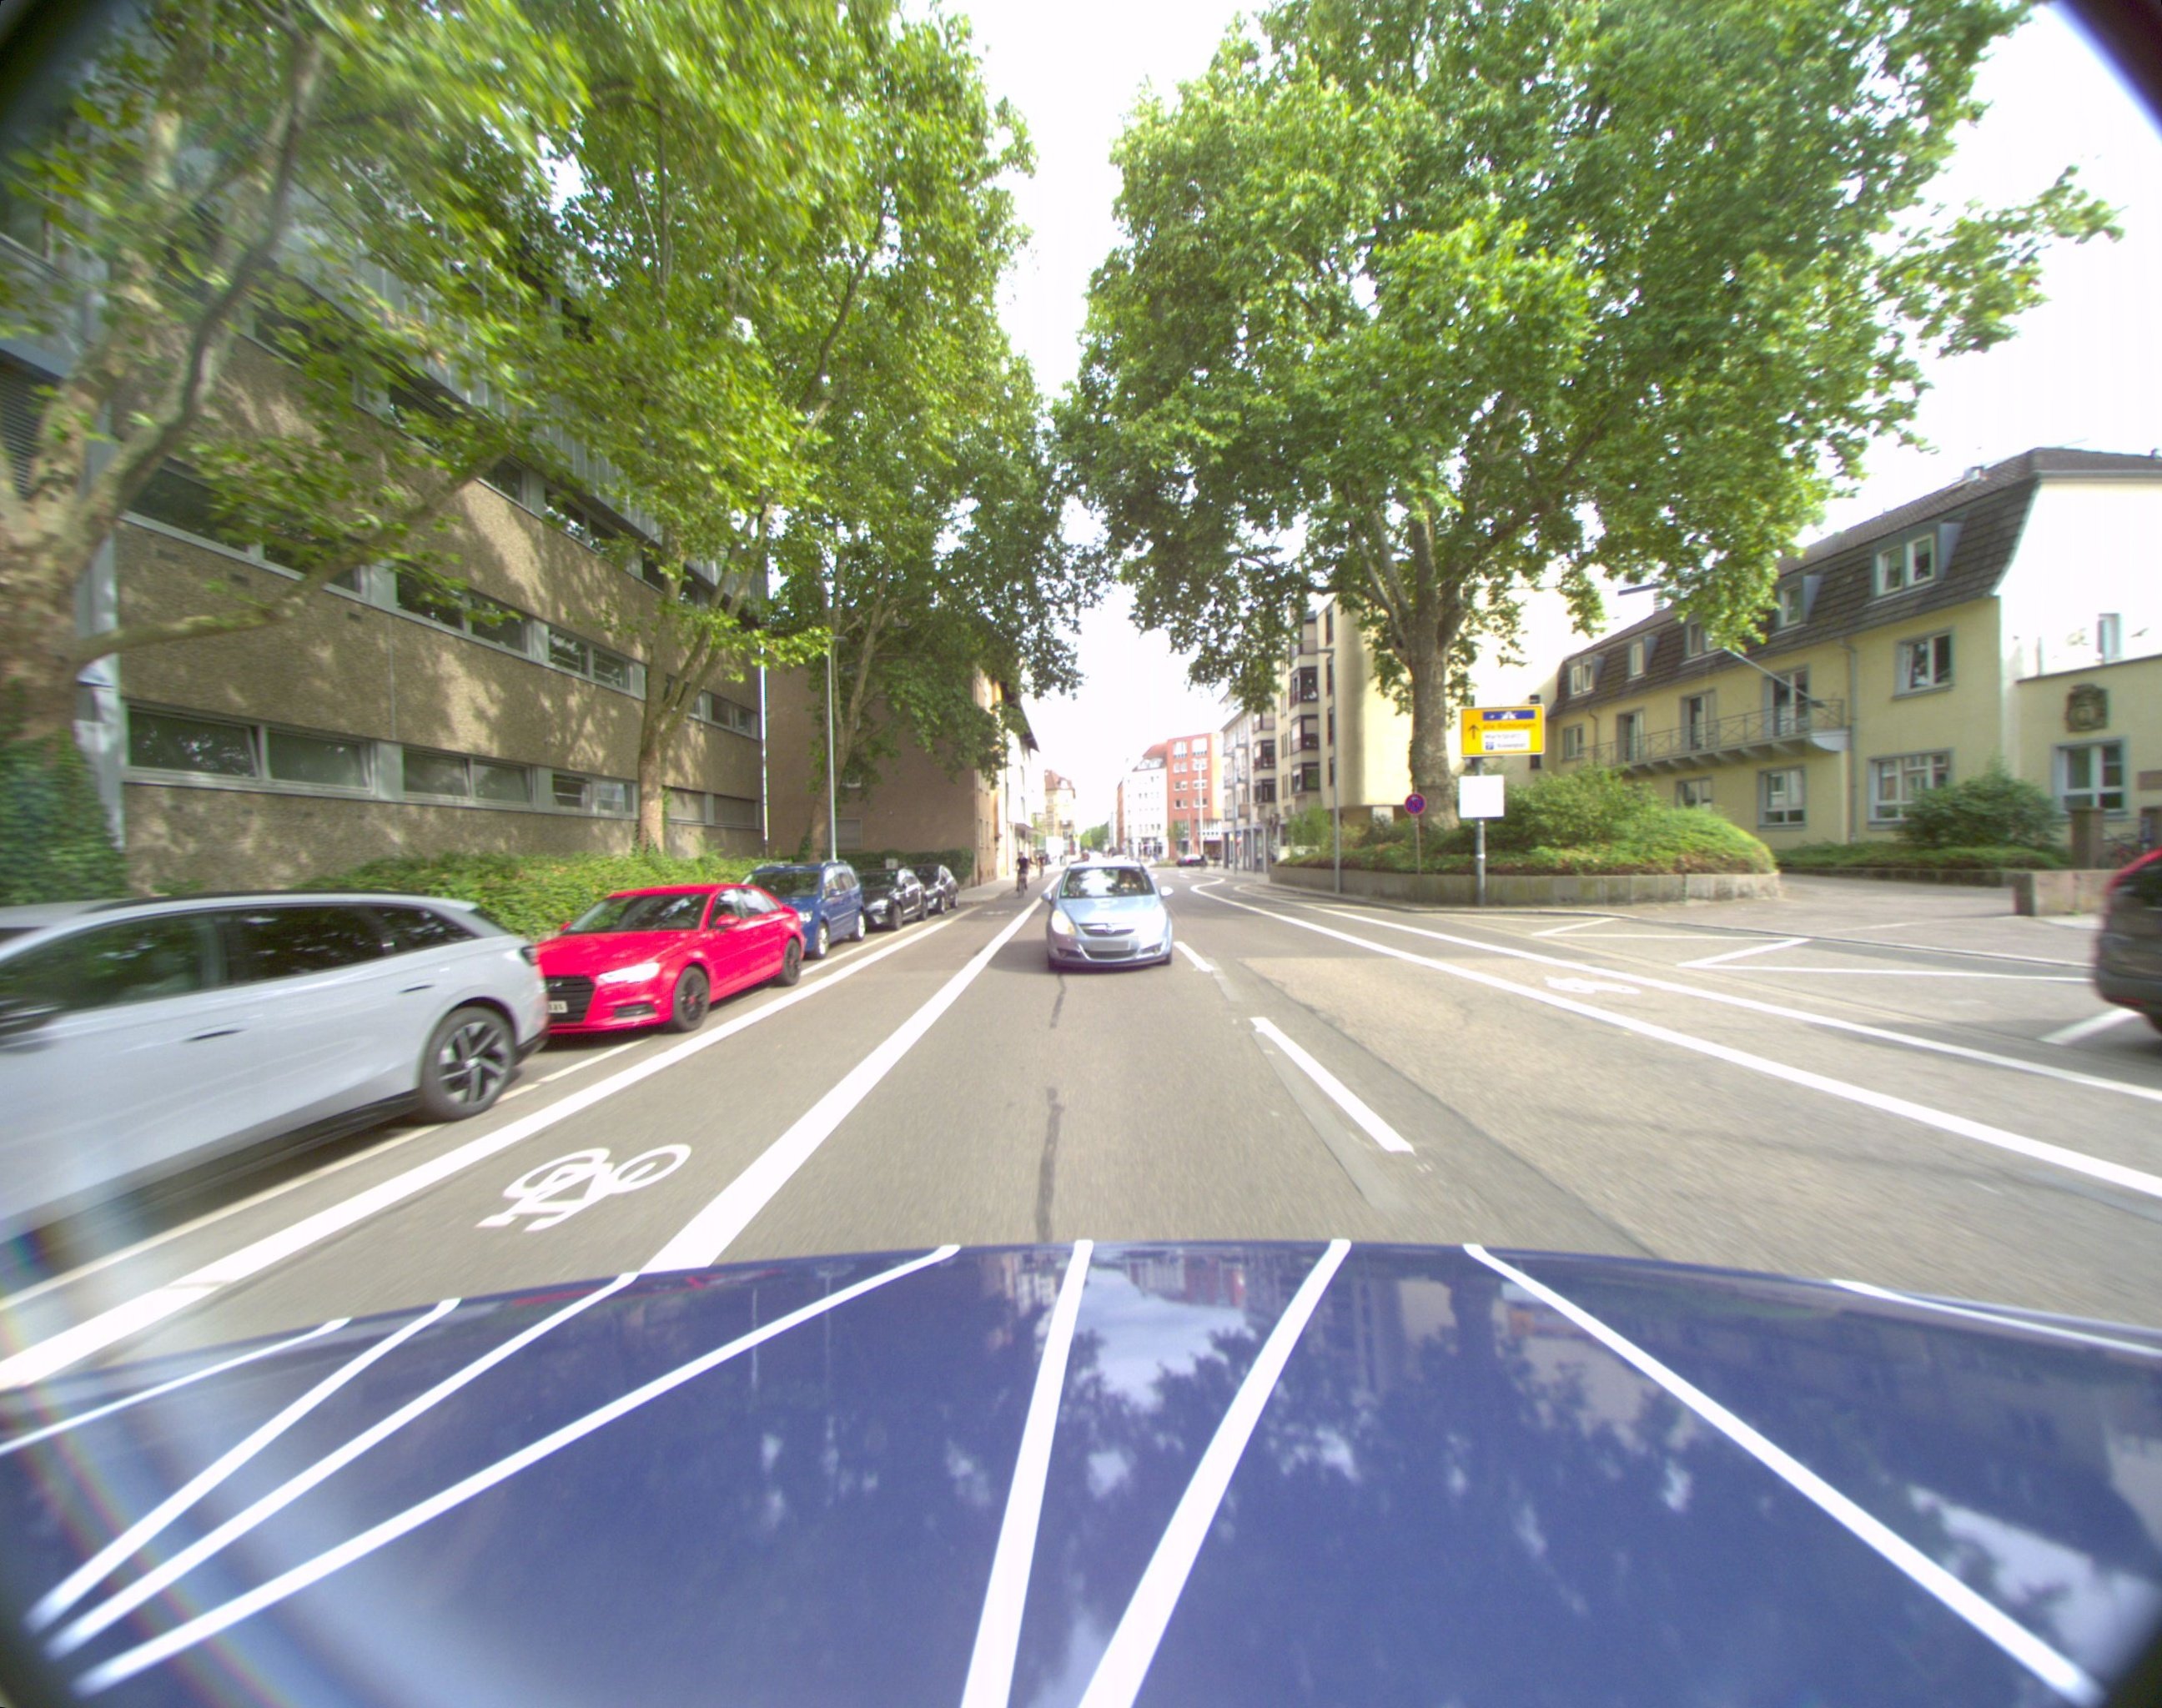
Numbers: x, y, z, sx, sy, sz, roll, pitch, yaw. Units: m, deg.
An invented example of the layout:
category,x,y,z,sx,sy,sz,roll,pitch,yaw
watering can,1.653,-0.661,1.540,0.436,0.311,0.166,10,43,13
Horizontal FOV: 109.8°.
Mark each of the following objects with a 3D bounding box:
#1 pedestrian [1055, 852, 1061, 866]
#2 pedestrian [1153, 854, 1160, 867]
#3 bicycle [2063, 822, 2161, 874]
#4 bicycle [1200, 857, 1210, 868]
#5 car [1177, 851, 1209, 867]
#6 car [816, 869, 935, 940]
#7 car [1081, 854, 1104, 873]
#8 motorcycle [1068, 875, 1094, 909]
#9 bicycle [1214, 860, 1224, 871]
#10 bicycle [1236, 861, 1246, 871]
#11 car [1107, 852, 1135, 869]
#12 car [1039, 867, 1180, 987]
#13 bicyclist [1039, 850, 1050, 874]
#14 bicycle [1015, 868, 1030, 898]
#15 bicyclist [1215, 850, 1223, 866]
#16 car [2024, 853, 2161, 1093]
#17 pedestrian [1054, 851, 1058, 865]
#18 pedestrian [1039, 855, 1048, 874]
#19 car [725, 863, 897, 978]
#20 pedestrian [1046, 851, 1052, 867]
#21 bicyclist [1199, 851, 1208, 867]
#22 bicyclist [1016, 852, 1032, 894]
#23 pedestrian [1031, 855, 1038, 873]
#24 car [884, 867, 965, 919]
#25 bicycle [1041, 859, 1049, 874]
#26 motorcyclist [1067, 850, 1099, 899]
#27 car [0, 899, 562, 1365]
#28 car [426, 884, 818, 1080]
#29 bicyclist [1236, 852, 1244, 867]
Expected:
category,x,y,z,sx,sy,sz,roll,pitch,yaw
pedestrian,-3.087,0.690,102.183,0.657,1.841,0.971,2,1,4
pedestrian,11.857,1.067,118.810,0.719,1.960,1.016,2,0,28
bicycle,22.859,-0.129,16.736,1.802,1.038,0.399,-3,-1,2
bicycle,11.989,0.790,73.617,0.739,1.001,2.196,-3,-1,4
car,12.344,0.622,83.555,1.812,1.398,4.620,-4,-6,31
car,-4.851,1.140,18.517,1.661,1.413,3.947,-2,0,2
car,1.070,0.834,69.558,1.957,1.592,4.000,-1,0,2
motorcycle,0.017,1.159,23.643,0.570,0.962,2.015,-1,0,6
bicycle,14.116,1.181,77.552,0.739,1.001,1.977,-3,-1,4
bicycle,16.529,1.211,78.601,0.739,1.001,2.253,-3,-1,5
car,4.575,0.730,86.338,1.995,1.867,4.006,-1,0,21
car,0.403,0.931,11.328,1.723,1.394,4.000,0,0,2
bicyclist,-2.473,0.564,51.401,0.613,1.594,0.847,-3,-1,-2
bicycle,-2.377,1.166,31.003,0.407,1.115,2.016,-3,1,-1
bicyclist,14.034,0.404,77.137,0.658,1.516,0.857,-3,0,5
car,9.410,0.712,4.819,4.267,1.596,1.968,-3,-1,1
pedestrian,-3.092,0.477,94.765,0.473,1.663,0.590,-1,1,1
pedestrian,-3.432,0.937,69.890,0.753,1.740,0.859,-1,1,0
car,-4.665,1.040,13.841,1.662,1.641,4.418,-3,0,-3
pedestrian,-3.954,0.629,94.914,0.673,1.892,0.590,-1,1,1
bicyclist,11.804,0.451,73.238,0.658,1.516,1.077,-3,-1,5
bicyclist,-2.332,0.763,31.128,0.560,1.699,0.862,-1,0,-1
pedestrian,-4.261,0.916,69.789,0.606,1.659,0.944,-1,1,-1
car,-4.717,1.133,23.350,1.662,1.413,3.866,-1,-1,0
bicycle,-2.450,0.849,51.316,0.489,0.994,1.747,-2,0,-2
motorcyclist,0.068,0.625,23.641,0.871,1.508,1.044,-1,0,6
car,-4.844,1.142,3.345,1.732,1.508,4.870,-2,0,0
car,-4.582,1.149,8.540,1.680,1.386,4.460,-2,0,0
bicyclist,16.543,0.546,78.895,0.658,1.516,0.841,-3,-1,5
